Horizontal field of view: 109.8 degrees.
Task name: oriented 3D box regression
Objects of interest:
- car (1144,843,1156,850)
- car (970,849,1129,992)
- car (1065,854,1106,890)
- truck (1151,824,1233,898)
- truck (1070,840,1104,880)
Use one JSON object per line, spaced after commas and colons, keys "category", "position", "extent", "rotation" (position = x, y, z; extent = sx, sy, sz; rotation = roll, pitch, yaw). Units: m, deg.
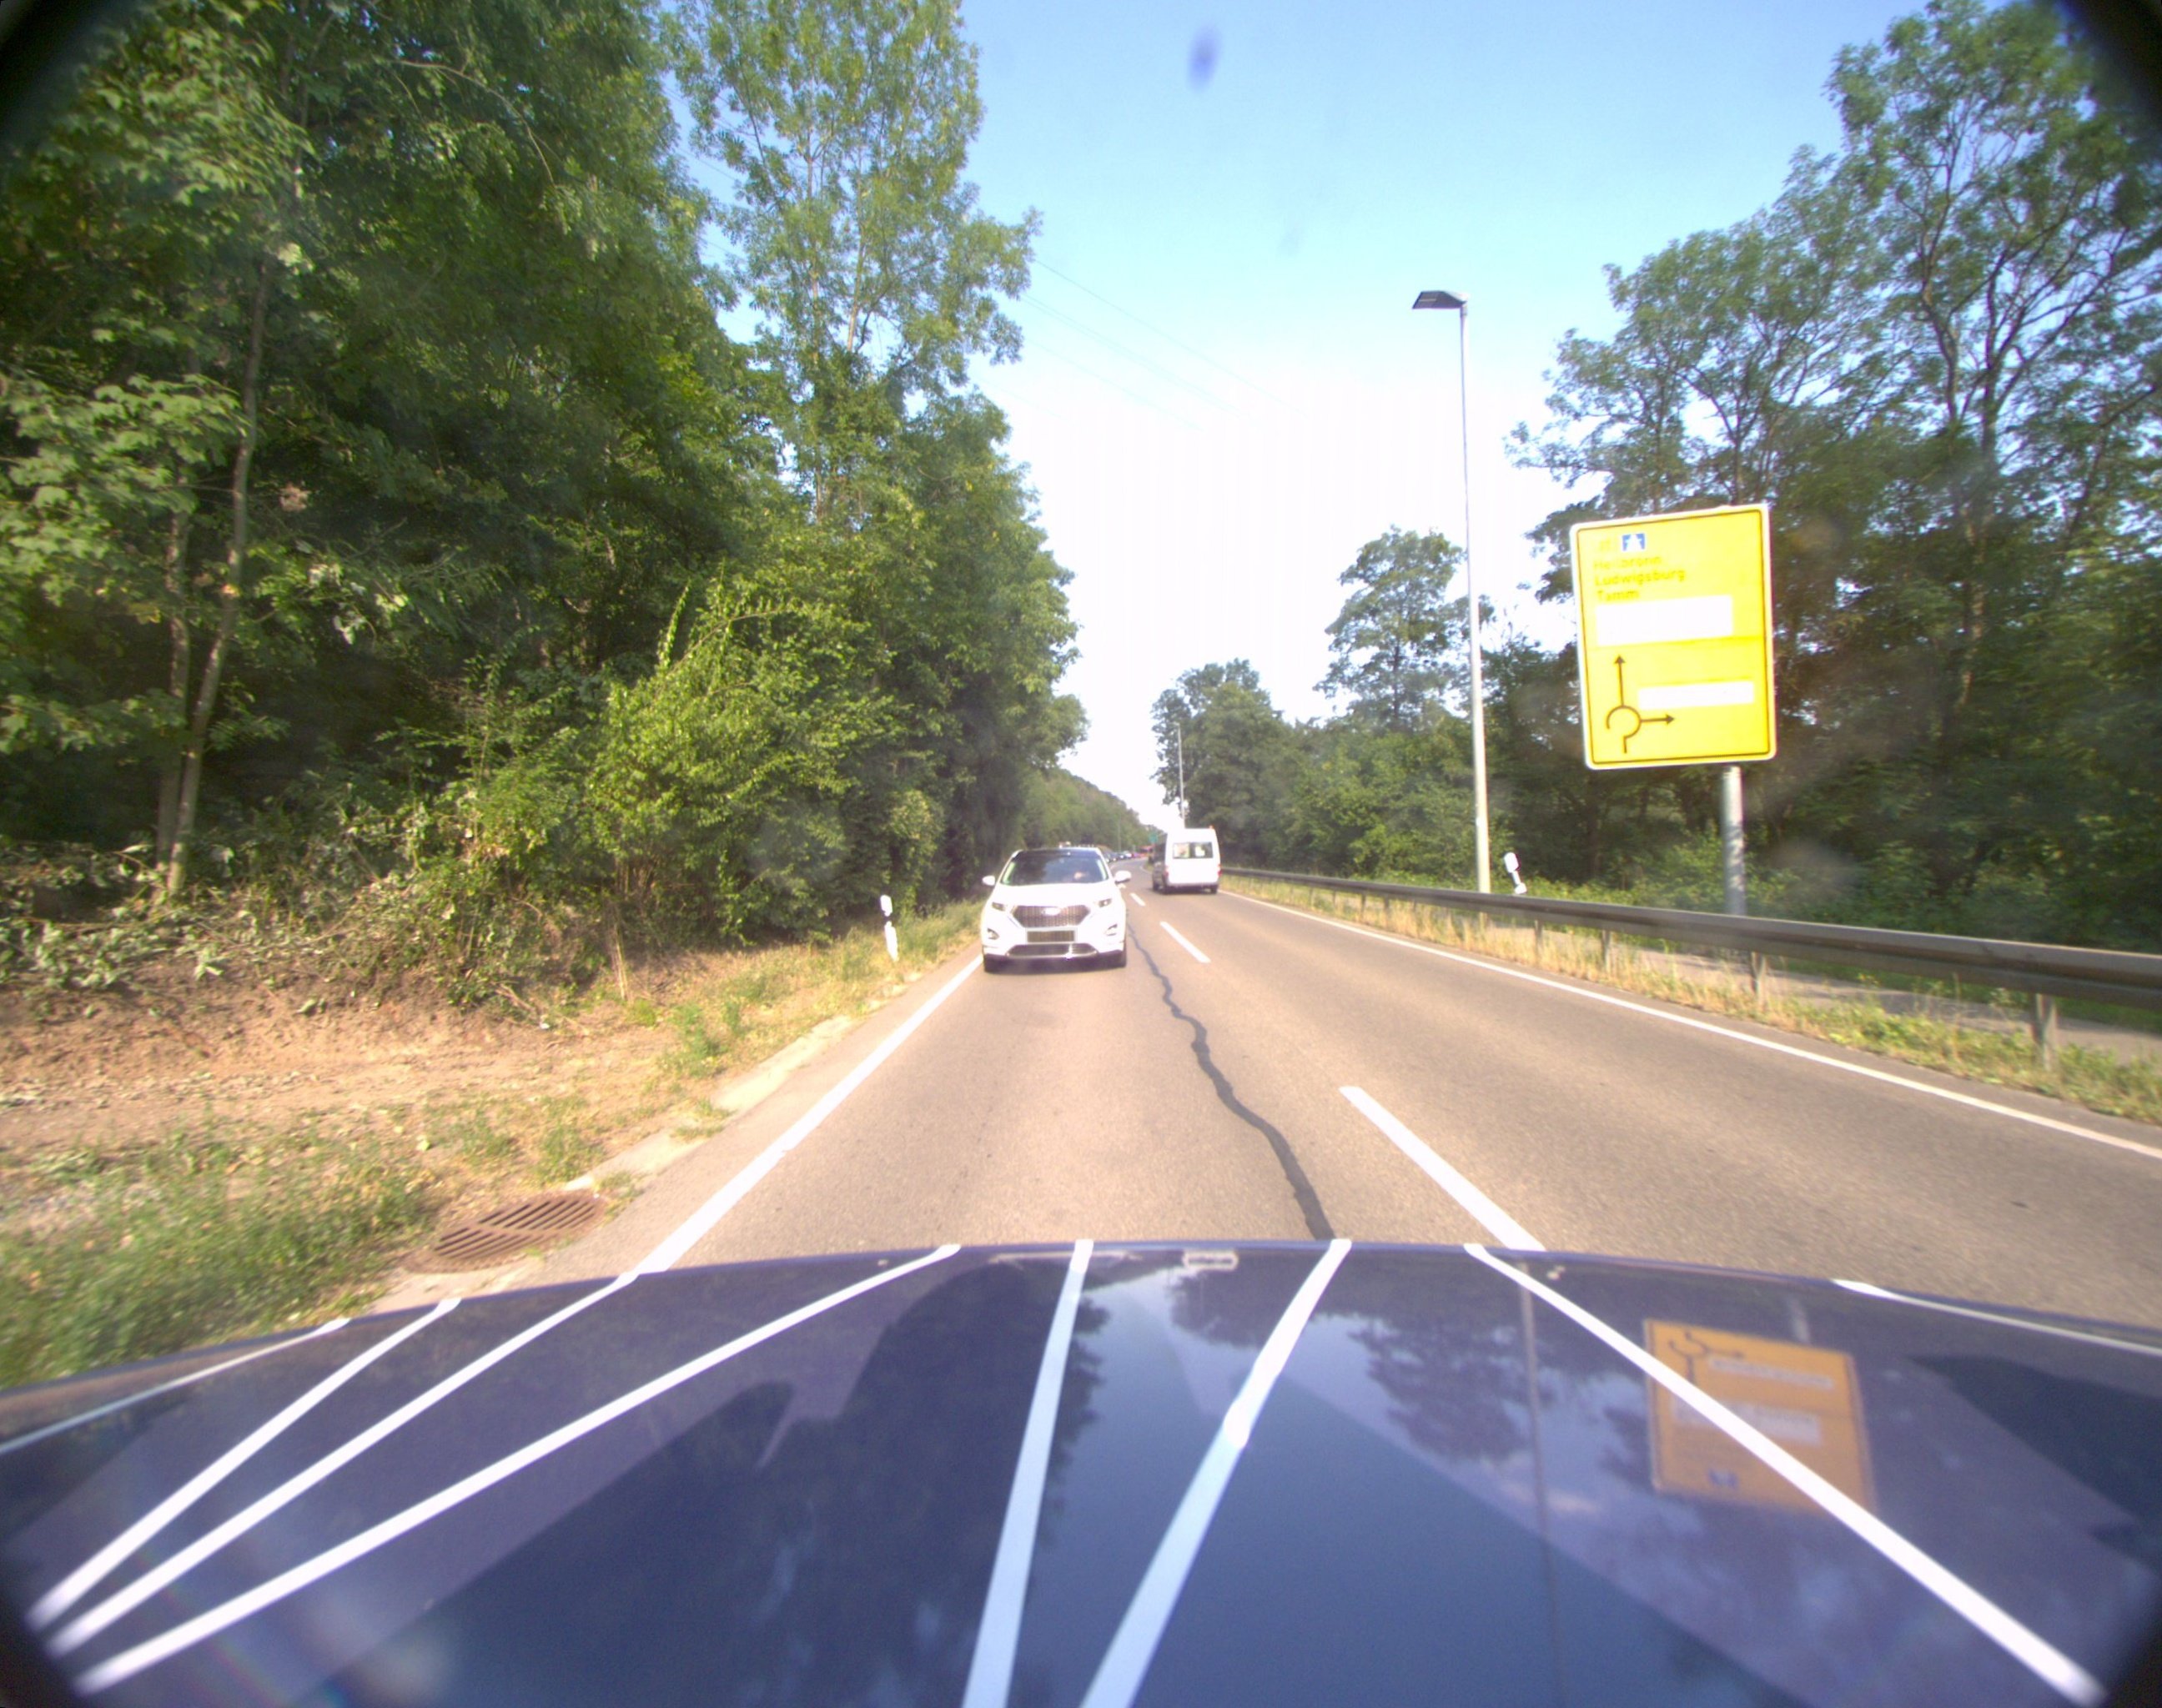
{"category": "car", "position": [17.993, -2.029, 197.948], "extent": [1.996, 1.697, 4.004], "rotation": [-2, 1, 18]}
{"category": "car", "position": [-0.359, 0.816, 11.450], "extent": [1.894, 1.691, 4.136], "rotation": [-2, 0, 1]}
{"category": "car", "position": [0.218, 0.777, 35.086], "extent": [1.704, 1.477, 4.136], "rotation": [-2, 0, 1]}
{"category": "truck", "position": [3.880, 0.207, 27.649], "extent": [2.063, 2.371, 5.872], "rotation": [-2, 1, 0]}
{"category": "truck", "position": [0.403, 0.349, 47.611], "extent": [1.894, 2.334, 5.273], "rotation": [-2, 0, 1]}
